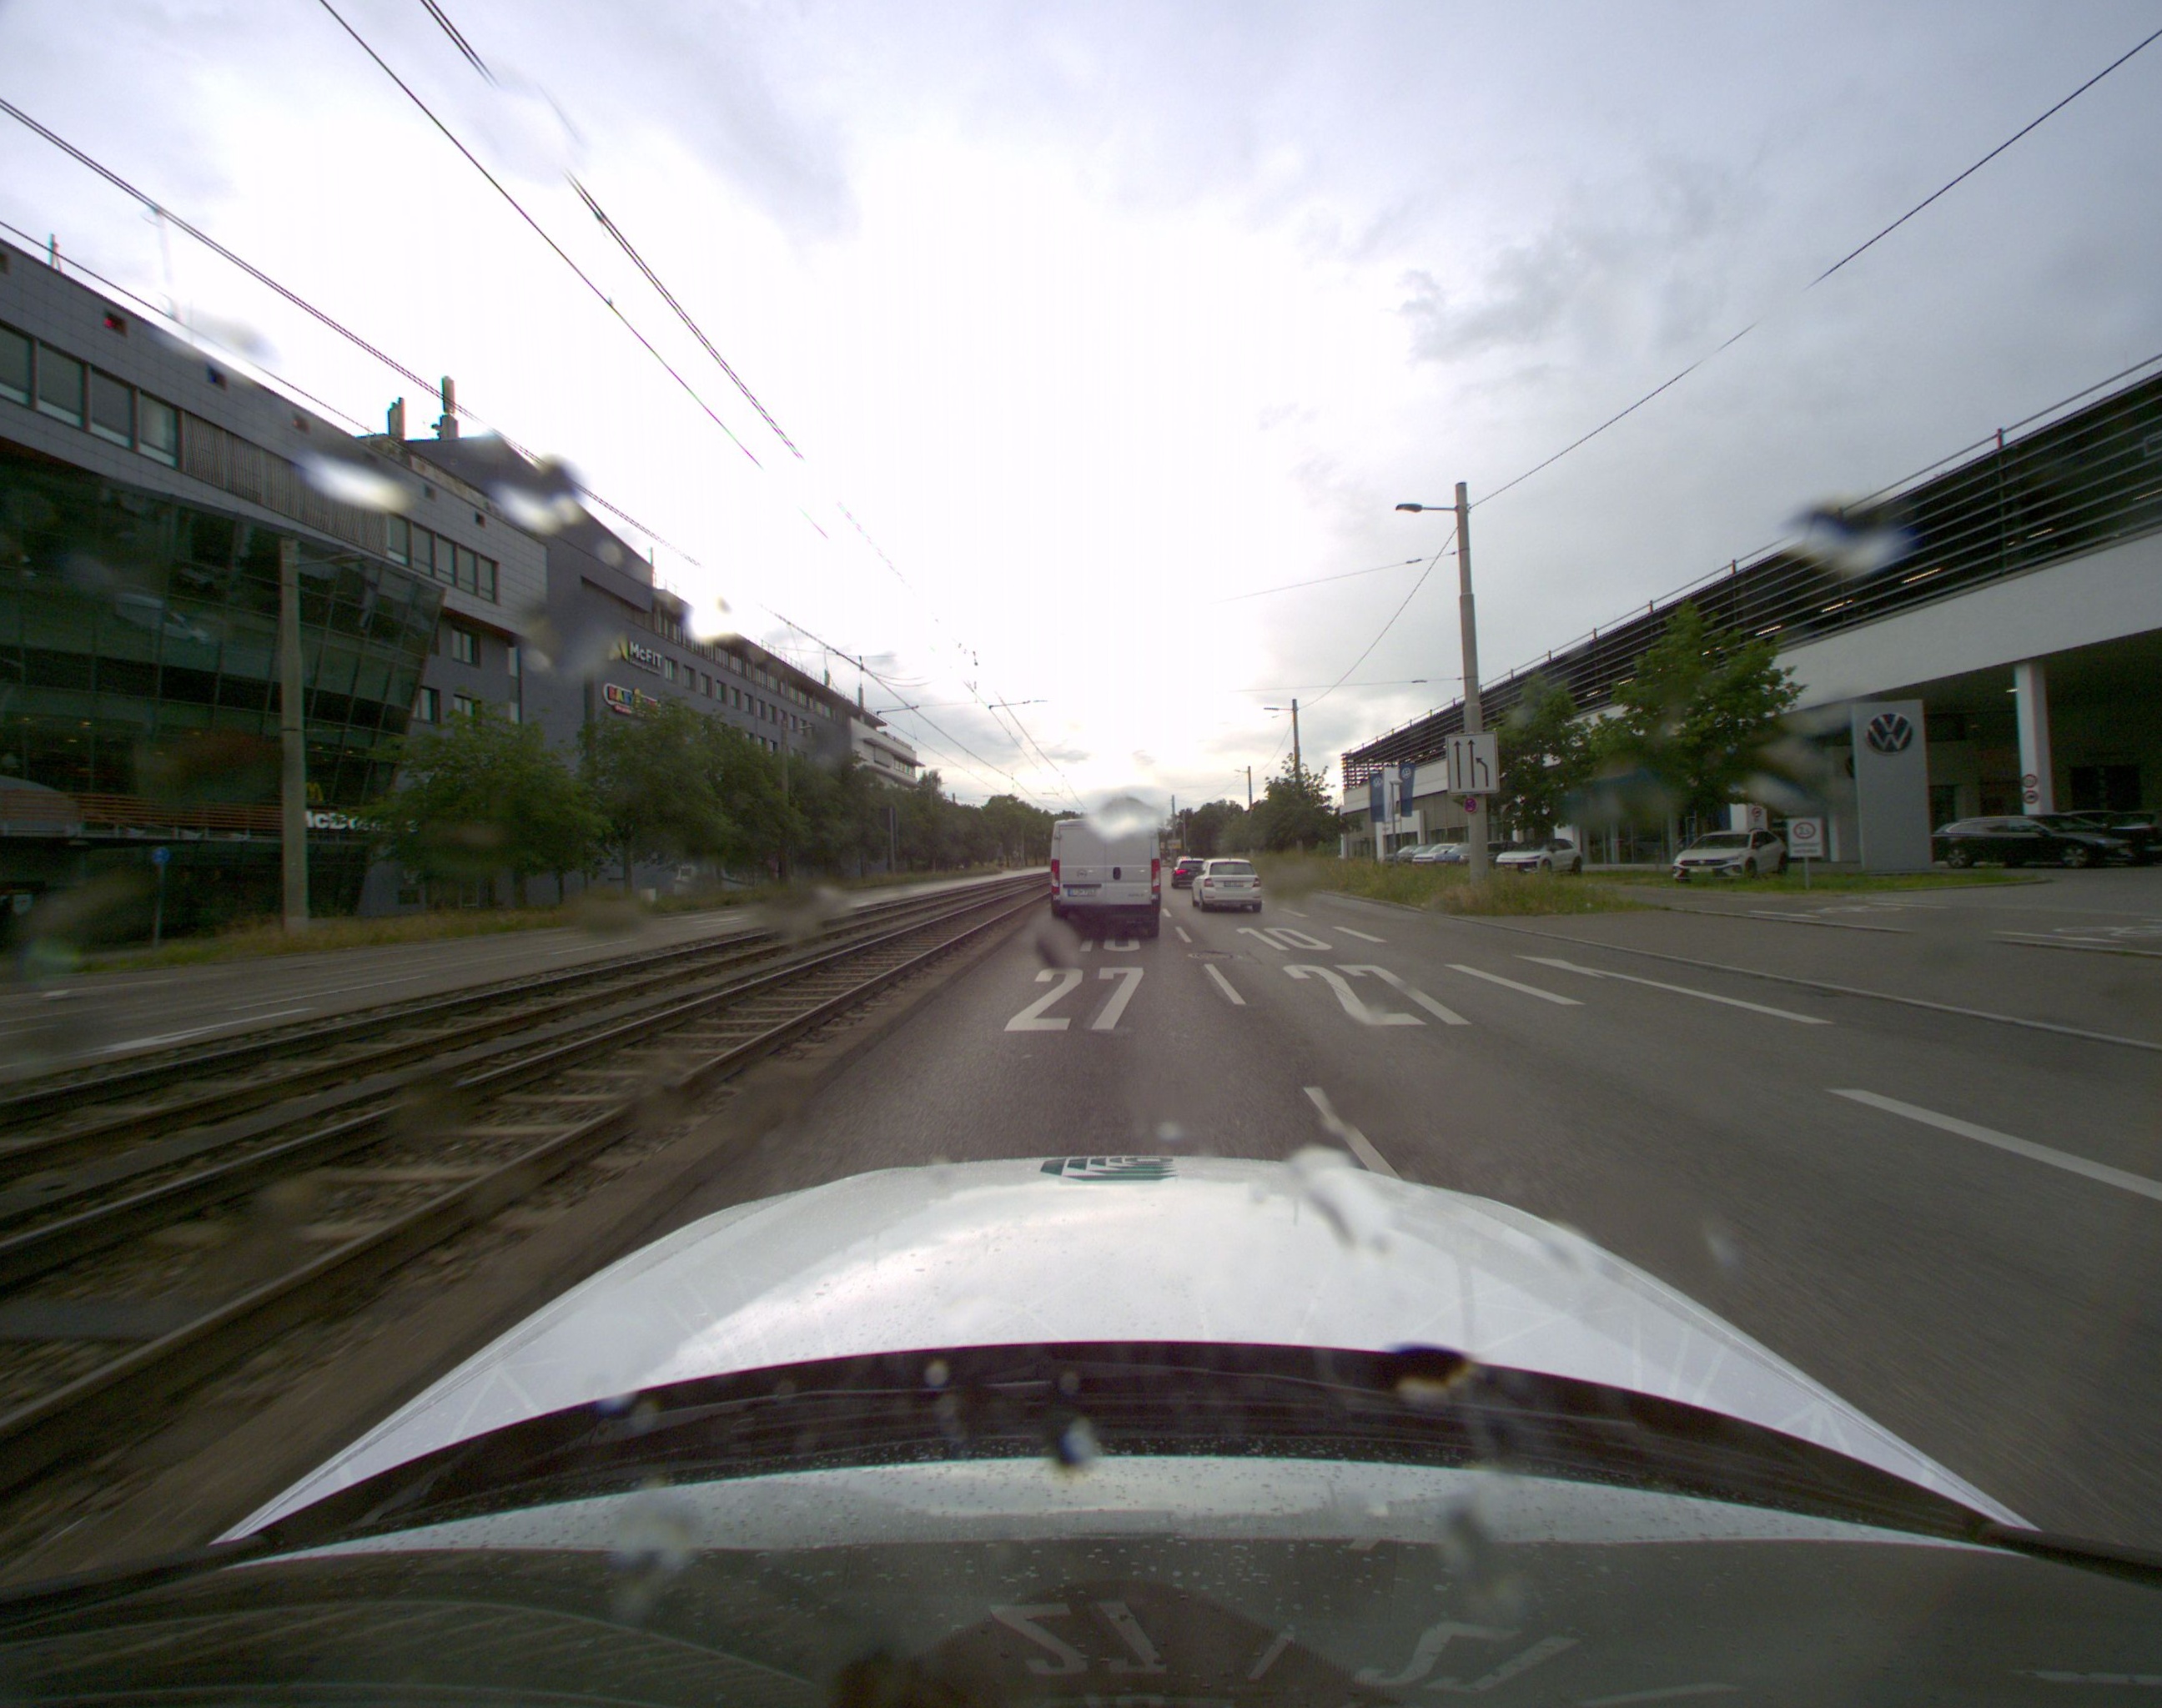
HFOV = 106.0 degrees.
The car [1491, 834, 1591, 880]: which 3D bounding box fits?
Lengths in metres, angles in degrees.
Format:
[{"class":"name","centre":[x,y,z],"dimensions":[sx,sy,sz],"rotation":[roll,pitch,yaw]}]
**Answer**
[{"class":"car","centre":[18.547,0.090,32.796],"dimensions":[4.117,1.568,1.780],"rotation":[-3,-1,-35]}]

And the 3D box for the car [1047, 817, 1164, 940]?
[{"class":"car","centre":[0.532,0.432,17.159],"dimensions":[2.082,2.196,5.063],"rotation":[0,0,2]}]

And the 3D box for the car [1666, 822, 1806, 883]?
[{"class":"car","centre":[18.810,-0.059,23.356],"dimensions":[4.114,1.465,1.731],"rotation":[-3,-1,-31]}]

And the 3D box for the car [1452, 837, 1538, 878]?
[{"class":"car","centre":[18.760,0.134,36.833],"dimensions":[4.211,1.568,1.778],"rotation":[-3,-2,-39]}]

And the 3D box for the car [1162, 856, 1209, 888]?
[{"class":"car","centre":[4.980,0.839,39.218],"dimensions":[1.783,1.449,4.000],"rotation":[-1,-1,1]}]

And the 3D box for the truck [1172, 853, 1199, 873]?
[{"class":"truck","centre":[9.965,0.854,78.000],"dimensions":[1.987,1.790,4.414],"rotation":[-2,0,0]}]

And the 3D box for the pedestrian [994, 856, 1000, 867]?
[{"class":"pedestrian","centre":[-15.279,1.387,147.830],"dimensions":[0.883,2.014,0.866],"rotation":[-2,-1,1]}]

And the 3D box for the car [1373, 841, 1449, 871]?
[{"class":"car","centre":[20.801,0.146,51.278],"dimensions":[4.637,1.568,1.835],"rotation":[-3,-1,-28]}]

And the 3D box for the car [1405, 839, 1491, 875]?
[{"class":"car","centre":[19.834,0.176,44.013],"dimensions":[4.366,1.626,1.839],"rotation":[-3,-1,-28]}]

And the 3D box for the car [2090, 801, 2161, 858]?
[{"class":"car","centre":[30.822,-0.651,22.309],"dimensions":[3.969,1.508,1.788],"rotation":[0,0,4]}]

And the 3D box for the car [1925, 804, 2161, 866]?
[{"class":"car","centre":[26.711,-0.462,22.574],"dimensions":[1.773,1.468,4.696],"rotation":[-4,-1,2]}]

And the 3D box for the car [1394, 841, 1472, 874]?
[{"class":"car","centre":[20.452,0.203,47.314],"dimensions":[4.388,1.568,1.782],"rotation":[-3,-1,-29]}]

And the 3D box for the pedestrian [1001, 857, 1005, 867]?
[{"class":"pedestrian","centre":[-13.970,1.345,145.519],"dimensions":[0.503,1.787,0.834],"rotation":[0,-1,8]}]

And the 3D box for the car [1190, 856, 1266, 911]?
[{"class":"car","centre":[4.160,0.788,23.520],"dimensions":[1.739,1.457,3.674],"rotation":[0,0,3]}]

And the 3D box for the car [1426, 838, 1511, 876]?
[{"class":"car","centre":[19.284,0.149,40.513],"dimensions":[4.206,1.568,1.781],"rotation":[-3,-1,-33]}]

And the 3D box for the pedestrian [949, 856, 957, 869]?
[{"class":"pedestrian","centre":[-20.226,1.386,128.552],"dimensions":[0.879,2.014,0.950],"rotation":[-2,-1,18]}]

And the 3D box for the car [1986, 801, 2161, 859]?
[{"class":"car","centre":[30.939,-0.714,25.272],"dimensions":[3.802,1.587,1.639],"rotation":[-2,-1,1]}]
